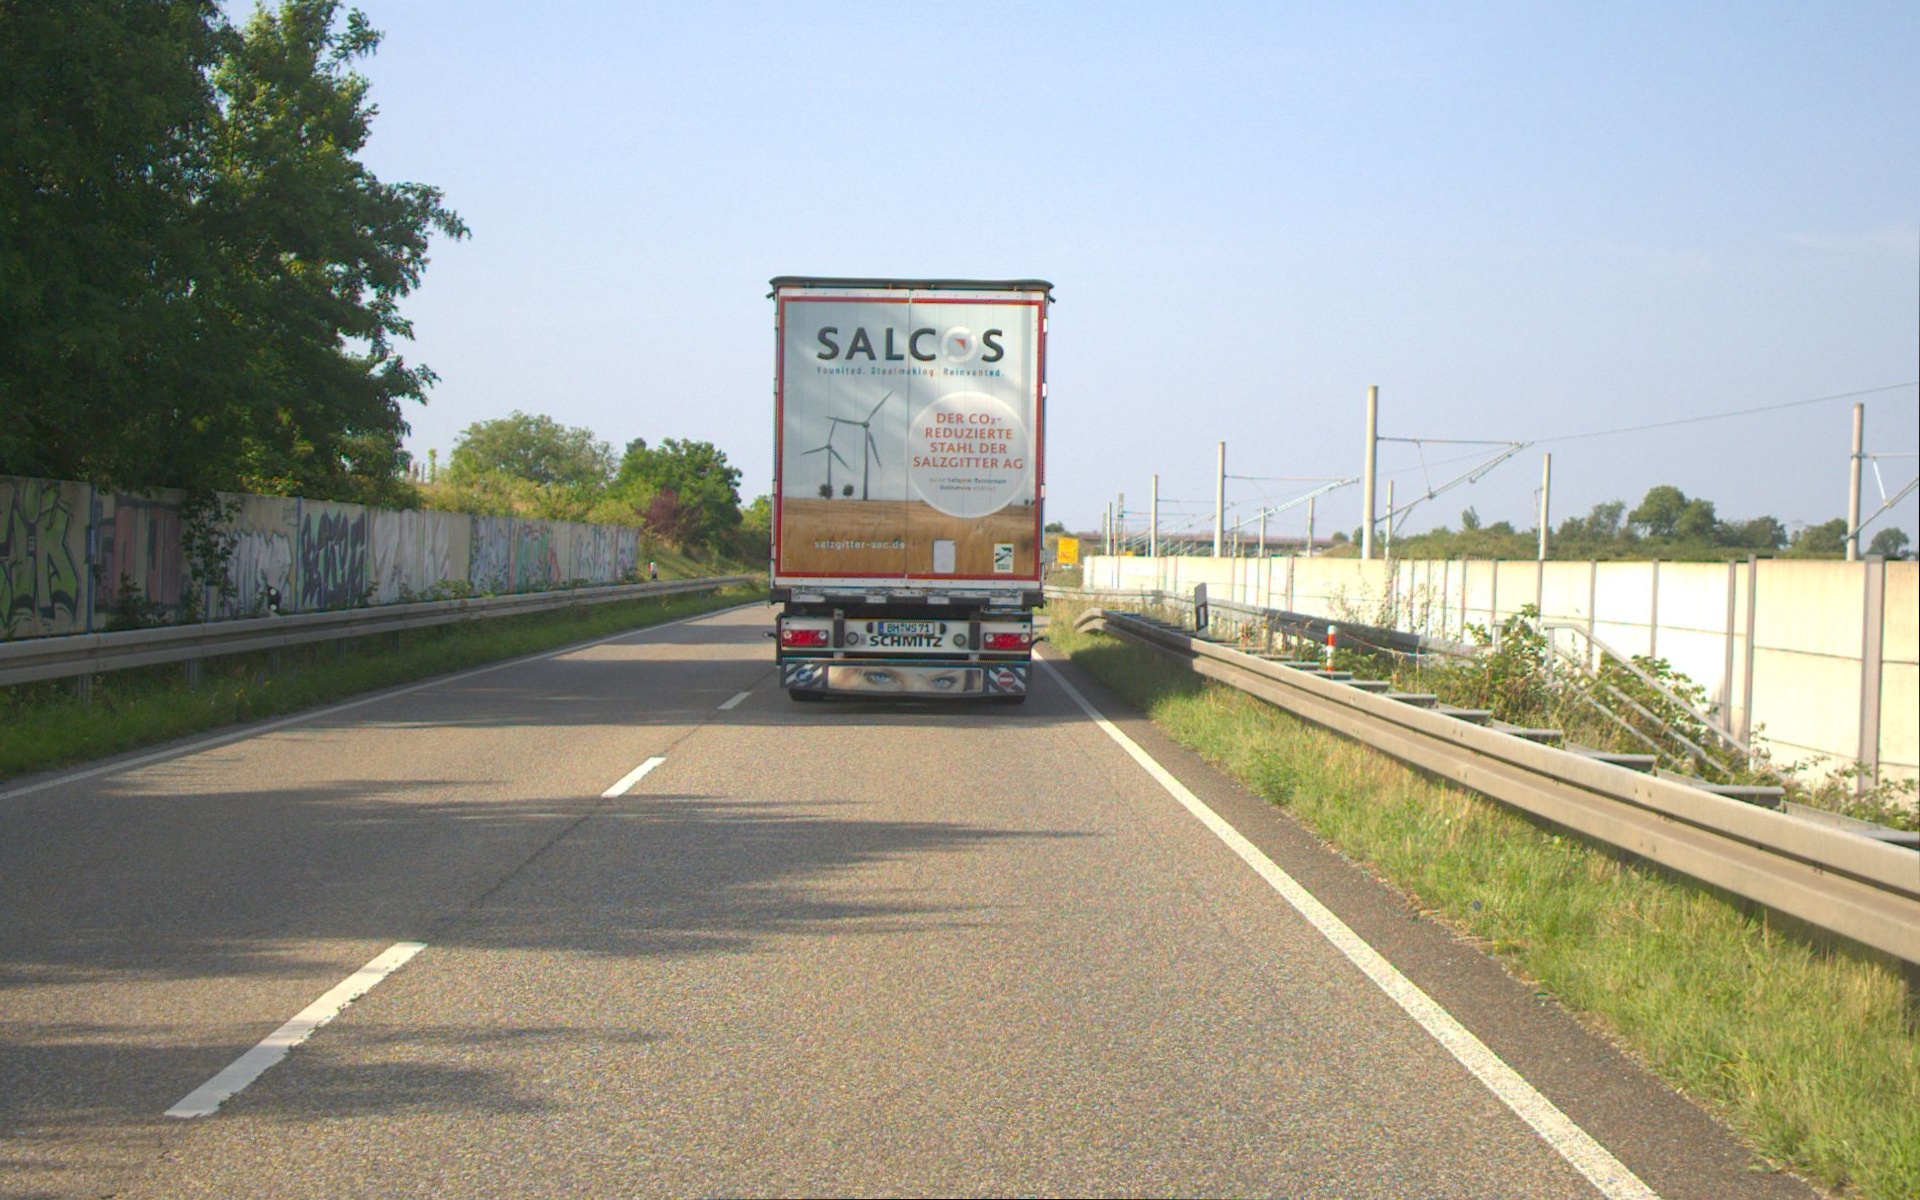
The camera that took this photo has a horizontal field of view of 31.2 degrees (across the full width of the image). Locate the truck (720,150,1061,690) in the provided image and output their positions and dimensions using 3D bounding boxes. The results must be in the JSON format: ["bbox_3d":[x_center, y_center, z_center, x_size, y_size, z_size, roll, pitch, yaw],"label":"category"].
[{"bbox_3d":[-0.753,-1.744,37.550,3.033,4.903,11.685,1,1,-1],"label":"truck"}]
